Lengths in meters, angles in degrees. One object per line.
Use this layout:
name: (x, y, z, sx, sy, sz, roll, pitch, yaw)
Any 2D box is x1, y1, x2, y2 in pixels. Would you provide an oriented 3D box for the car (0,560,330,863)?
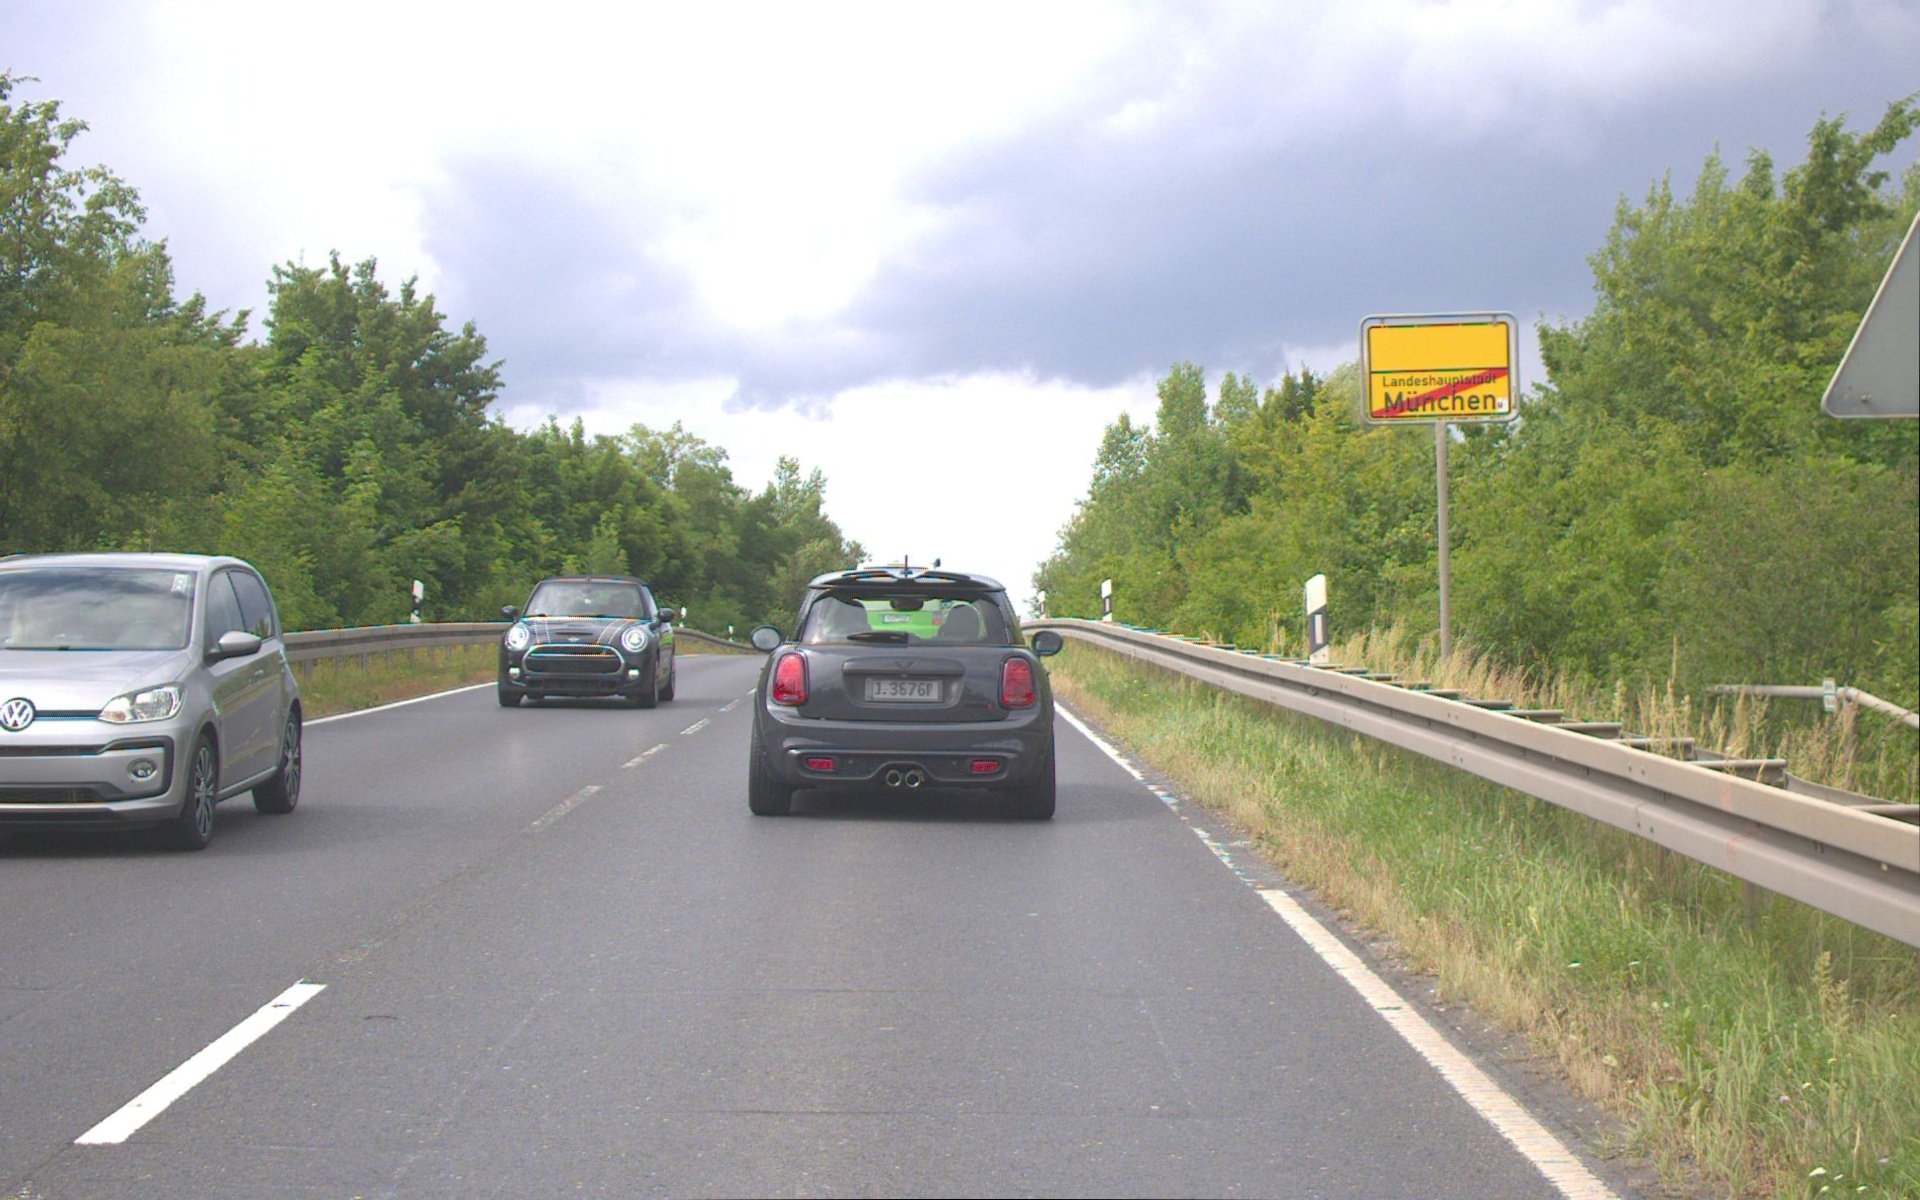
car: (-4.596, 0.509, 18.336, 1.835, 1.440, 4.000, 0, 1, -2)

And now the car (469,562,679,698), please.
car: (-4.222, 0.302, 38.184, 1.835, 1.415, 4.000, 0, 0, 1)

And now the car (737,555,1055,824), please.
car: (-0.321, 0.479, 20.914, 1.732, 1.451, 4.000, 1, 0, 1)

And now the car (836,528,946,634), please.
car: (-1.317, -0.362, 67.135, 2.022, 2.006, 4.000, 0, 0, 1)
